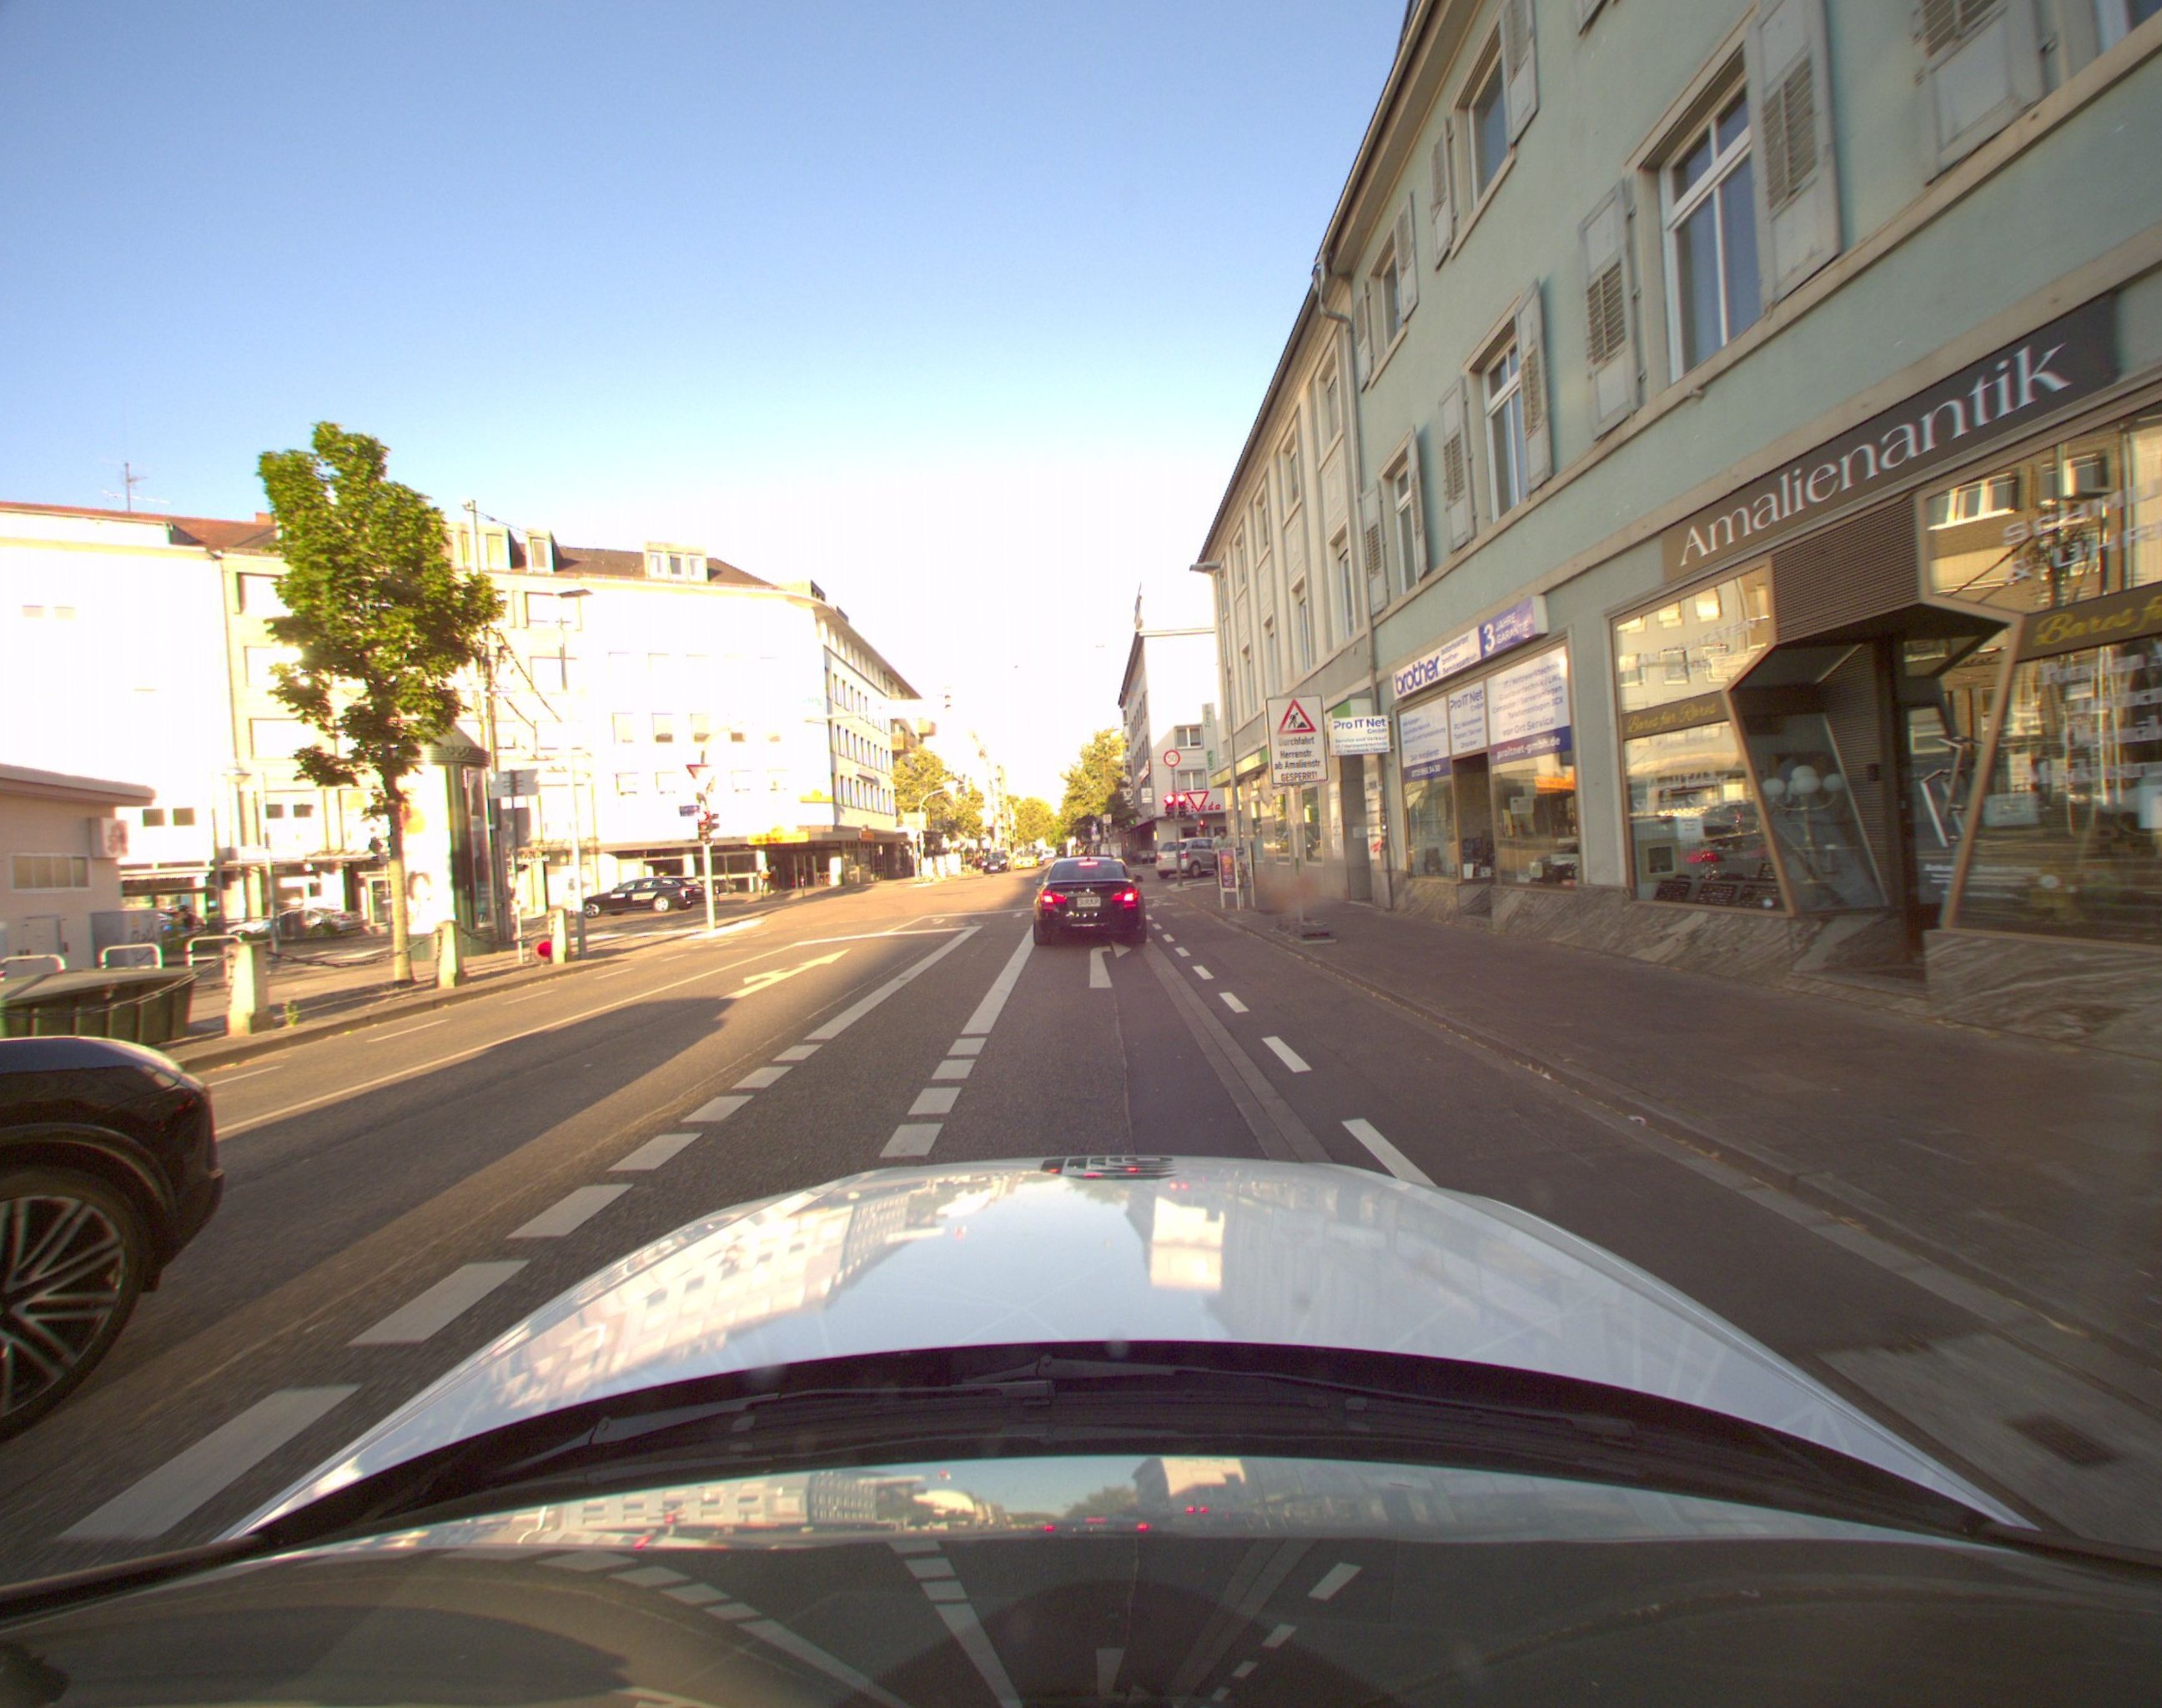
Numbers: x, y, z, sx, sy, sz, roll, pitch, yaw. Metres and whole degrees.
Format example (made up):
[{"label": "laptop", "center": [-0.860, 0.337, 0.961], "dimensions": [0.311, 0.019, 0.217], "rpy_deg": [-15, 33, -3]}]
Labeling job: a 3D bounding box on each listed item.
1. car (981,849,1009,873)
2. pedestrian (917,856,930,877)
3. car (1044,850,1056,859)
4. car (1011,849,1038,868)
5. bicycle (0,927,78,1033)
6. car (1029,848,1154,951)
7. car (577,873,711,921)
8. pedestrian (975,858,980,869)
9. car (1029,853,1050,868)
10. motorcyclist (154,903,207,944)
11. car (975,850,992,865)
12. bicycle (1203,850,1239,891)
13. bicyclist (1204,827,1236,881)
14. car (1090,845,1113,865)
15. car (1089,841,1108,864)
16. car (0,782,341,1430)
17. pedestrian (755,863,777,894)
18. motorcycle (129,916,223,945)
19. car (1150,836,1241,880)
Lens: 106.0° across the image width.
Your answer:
[{"label": "car", "center": [-6.543, 0.536, 62.210], "dimensions": [1.991, 1.618, 3.992], "rpy_deg": [-4, 0, -6]}, {"label": "pedestrian", "center": [-13.334, 1.062, 69.122], "dimensions": [0.821, 1.676, 0.871], "rpy_deg": [-4, 0, -1]}, {"label": "car", "center": [-4.939, 0.142, 129.575], "dimensions": [1.732, 1.293, 3.992], "rpy_deg": [-4, 0, -6]}, {"label": "car", "center": [-4.727, 0.382, 67.663], "dimensions": [1.991, 1.442, 3.992], "rpy_deg": [-4, 0, -6]}, {"label": "bicycle", "center": [-14.682, 1.685, 10.515], "dimensions": [2.435, 1.256, 0.787], "rpy_deg": [-4, 0, 1]}, {"label": "car", "center": [0.121, 0.693, 14.843], "dimensions": [1.898, 1.540, 4.447], "rpy_deg": [-1, 1, -1]}, {"label": "car", "center": [-17.733, 1.743, 33.170], "dimensions": [4.414, 1.595, 1.881], "rpy_deg": [-3, 0, 4]}, {"label": "pedestrian", "center": [-13.178, 1.222, 103.547], "dimensions": [0.443, 1.416, 0.525], "rpy_deg": [-4, 0, -3]}, {"label": "car", "center": [-3.822, 0.576, 74.432], "dimensions": [1.732, 1.293, 3.992], "rpy_deg": [-4, 0, -6]}, {"label": "motorcyclist", "center": [-31.448, 2.409, 28.450], "dimensions": [0.997, 1.319, 0.761], "rpy_deg": [-3, 0, -29]}, {"label": "car", "center": [-10.618, 0.337, 89.076], "dimensions": [1.732, 1.461, 3.992], "rpy_deg": [-4, 0, -6]}, {"label": "bicycle", "center": [4.040, 0.449, 23.637], "dimensions": [0.688, 1.107, 1.896], "rpy_deg": [-4, 0, 0]}, {"label": "bicyclist", "center": [4.022, -0.004, 23.620], "dimensions": [0.719, 1.507, 0.900], "rpy_deg": [-4, 0, 1]}, {"label": "car", "center": [1.573, 0.059, 64.525], "dimensions": [1.620, 1.471, 3.394], "rpy_deg": [-3, 0, -1]}, {"label": "car", "center": [1.513, -0.140, 70.927], "dimensions": [1.418, 1.854, 3.049], "rpy_deg": [-3, 0, -3]}, {"label": "car", "center": [-3.888, 0.747, 0.824], "dimensions": [1.942, 1.714, 4.562], "rpy_deg": [-4, 1, 1]}, {"label": "pedestrian", "center": [-16.559, 1.288, 42.800], "dimensions": [0.950, 1.537, 0.901], "rpy_deg": [-4, 0, -24]}, {"label": "motorcycle", "center": [-31.533, 2.647, 28.415], "dimensions": [2.040, 0.780, 0.657], "rpy_deg": [-4, 0, -31]}, {"label": "car", "center": [4.859, 0.146, 34.121], "dimensions": [1.815, 1.575, 4.127], "rpy_deg": [-3, 1, 40]}]
